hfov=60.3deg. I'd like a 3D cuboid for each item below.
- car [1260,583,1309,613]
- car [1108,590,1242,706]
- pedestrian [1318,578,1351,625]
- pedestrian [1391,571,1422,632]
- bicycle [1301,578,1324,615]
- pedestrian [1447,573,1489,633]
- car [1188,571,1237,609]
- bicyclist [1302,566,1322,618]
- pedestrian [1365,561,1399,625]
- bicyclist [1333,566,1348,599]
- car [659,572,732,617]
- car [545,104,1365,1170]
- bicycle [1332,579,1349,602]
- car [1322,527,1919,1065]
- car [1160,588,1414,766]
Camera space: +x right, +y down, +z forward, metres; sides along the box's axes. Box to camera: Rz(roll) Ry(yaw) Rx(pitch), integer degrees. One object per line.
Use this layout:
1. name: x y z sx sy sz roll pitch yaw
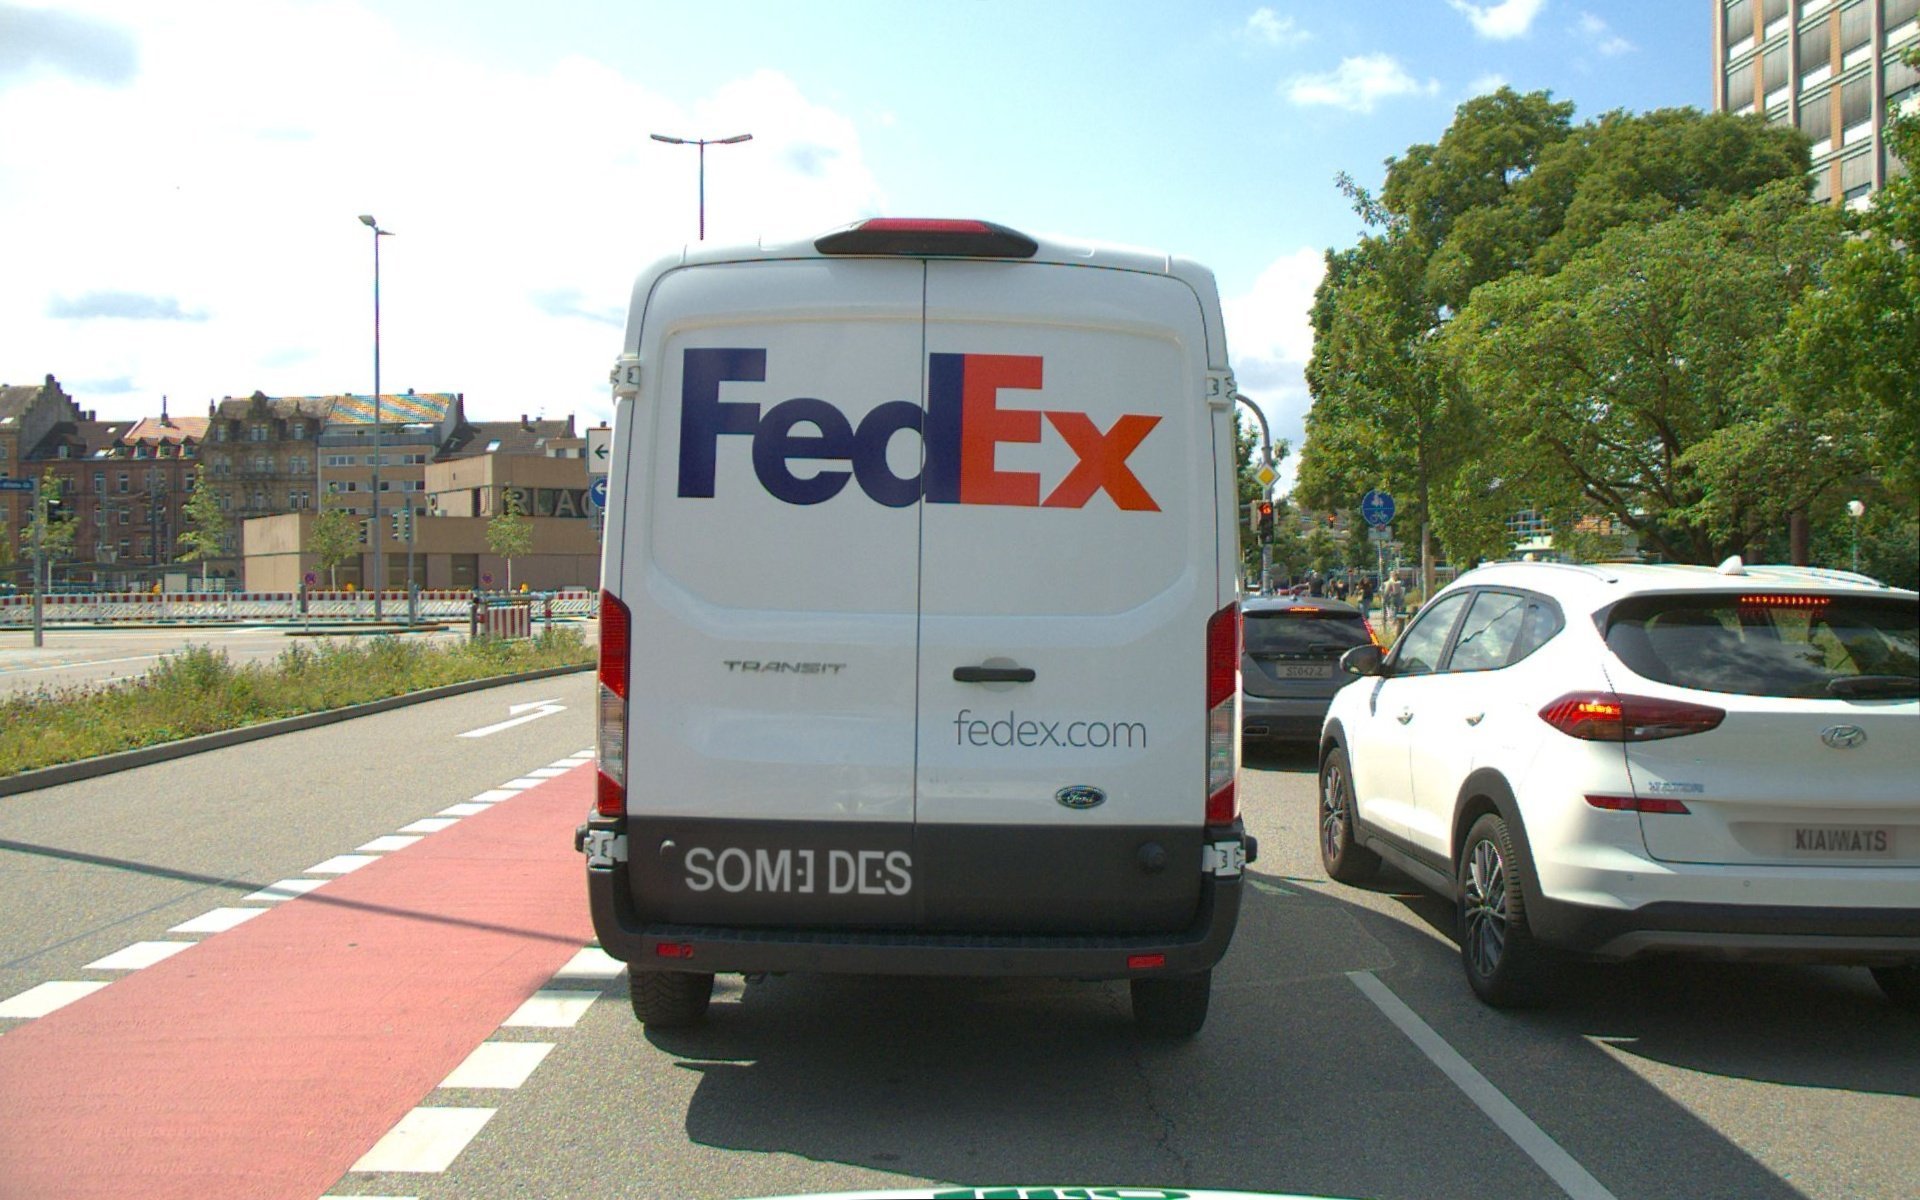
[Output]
1. car: 20.413 -0.142 103.956 1.955 1.825 4.367 -1 0 27
2. car: 2.884 0.597 22.684 1.454 1.453 3.433 0 1 1
3. pedestrian: 11.451 0.031 50.528 0.827 1.413 0.741 0 0 -1
4. pedestrian: 15.065 0.038 55.816 0.827 2.049 0.741 0 0 -1
5. bicycle: 12.904 -0.140 60.540 0.590 1.312 2.072 0 1 19
6. pedestrian: 13.411 0.073 43.668 0.827 1.565 0.835 0 0 -1
7. car: 13.950 -0.543 91.070 2.048 2.049 4.647 -1 0 16
8. bicyclist: 12.877 -0.293 60.416 0.579 1.877 1.123 0 1 19
9. pedestrian: 13.968 -0.226 54.807 0.832 2.094 0.737 0 0 -19
10. bicyclist: 17.792 -0.818 77.402 0.538 1.500 0.971 0 0 4
11. car: -12.305 -0.247 77.155 1.951 2.049 4.003 0 0 13
12. car: -0.134 0.085 7.100 2.098 2.699 5.701 0 0 -3
13. bicycle: 17.777 -0.467 77.328 0.534 1.048 1.928 0 1 6
14. car: 2.872 0.602 7.273 1.760 1.717 4.001 0 1 1
15. car: 2.998 0.640 15.922 1.760 1.486 3.839 0 1 1
